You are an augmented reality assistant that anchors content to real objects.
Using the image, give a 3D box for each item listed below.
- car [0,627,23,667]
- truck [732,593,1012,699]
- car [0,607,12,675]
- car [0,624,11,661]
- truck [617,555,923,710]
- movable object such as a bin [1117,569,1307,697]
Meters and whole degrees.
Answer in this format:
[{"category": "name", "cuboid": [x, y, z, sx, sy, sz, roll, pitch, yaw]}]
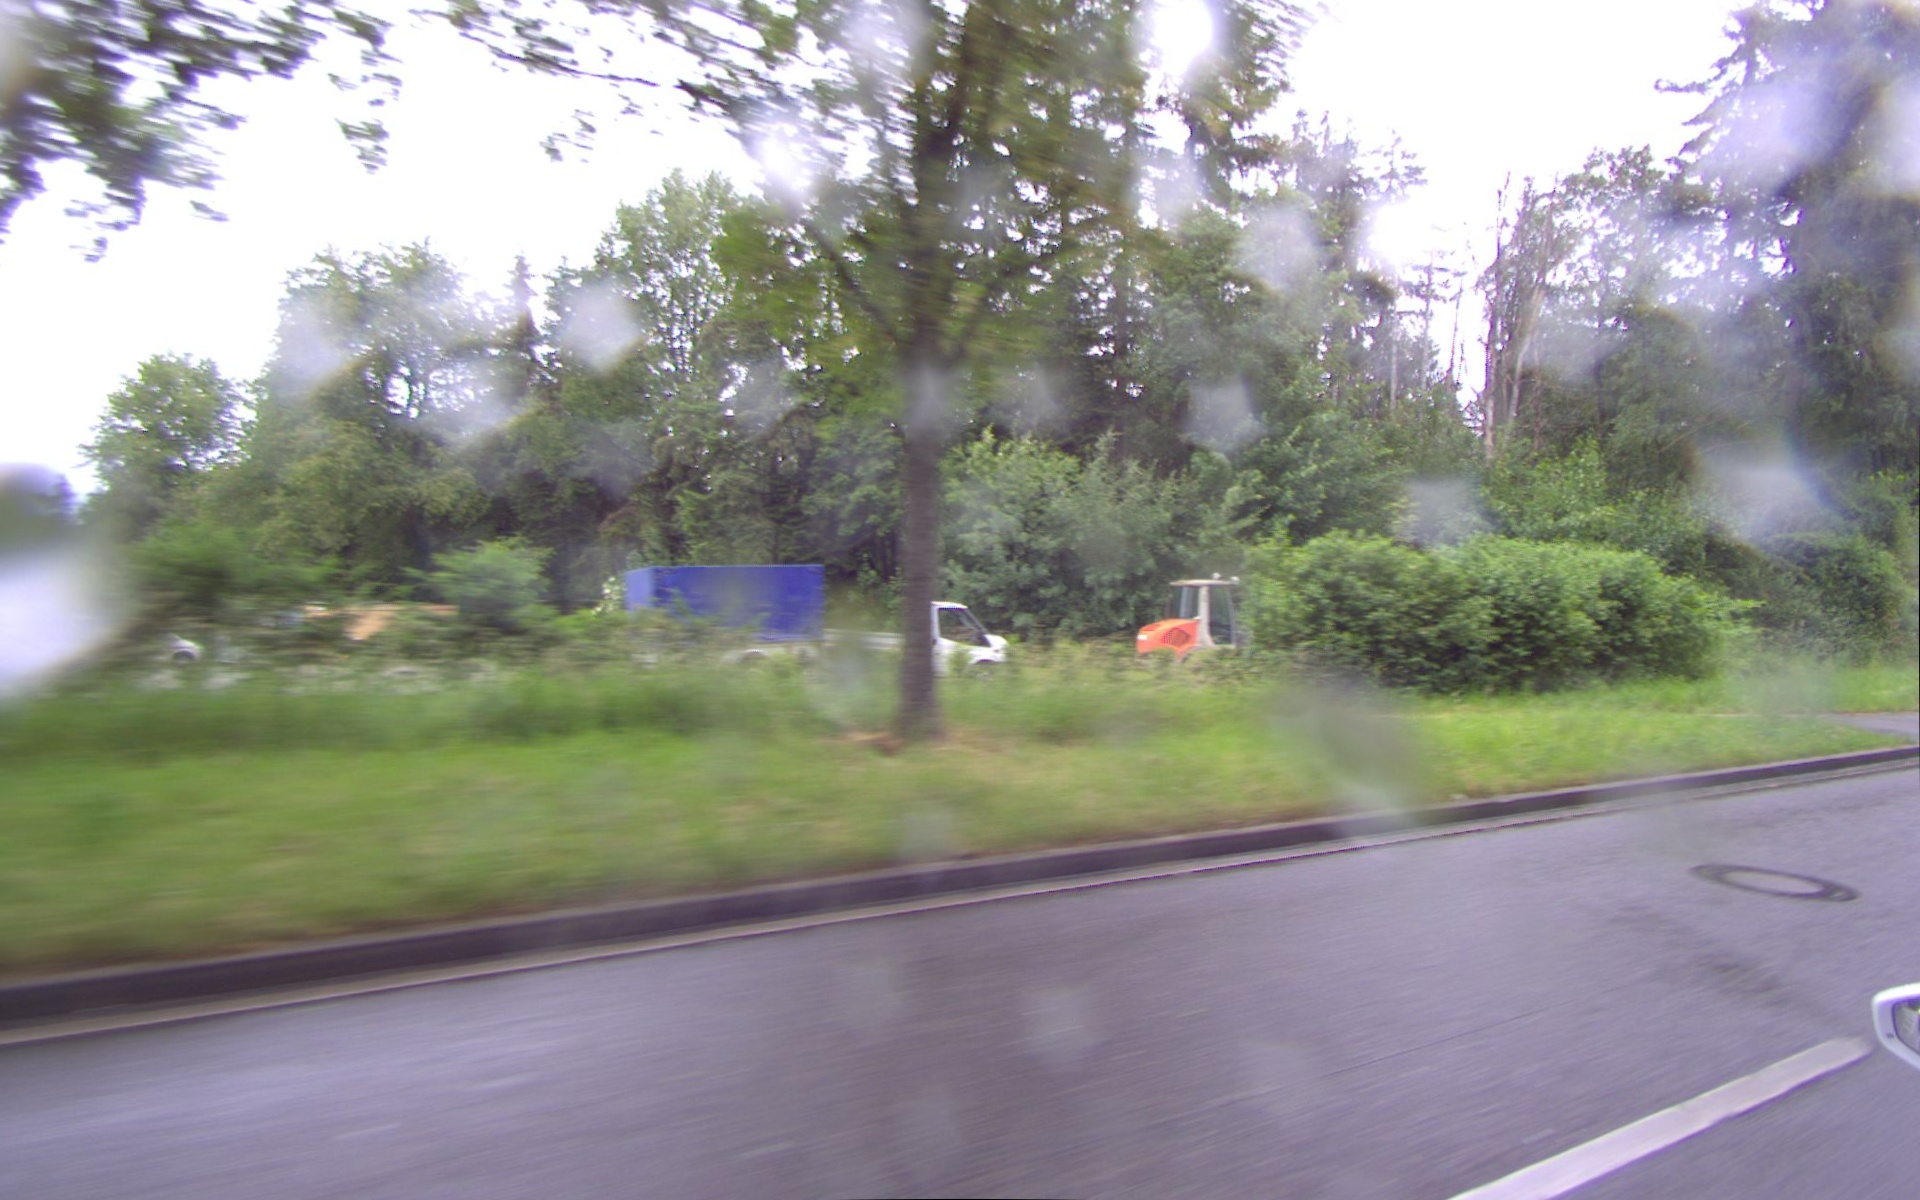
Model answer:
[{"category": "car", "cuboid": [-51.837, 2.469, 52.533, 1.971, 2.040, 3.979, 2, 1, 41]}, {"category": "truck", "cuboid": [-2.030, 1.025, 23.071, 6.127, 2.232, 1.996, 1, 2, -10]}, {"category": "car", "cuboid": [-31.548, 1.222, 30.363, 3.962, 2.040, 1.753, 1, 1, -36]}, {"category": "car", "cuboid": [-55.951, 2.407, 56.098, 1.795, 2.040, 3.986, 2, 1, 36]}, {"category": "truck", "cuboid": [-3.390, 0.499, 18.399, 5.168, 2.491, 1.981, 0, 2, -34]}, {"category": "movable object such as a bin", "cuboid": [6.055, 0.776, 24.312, 3.935, 2.899, 1.993, 2, 1, -17]}]
